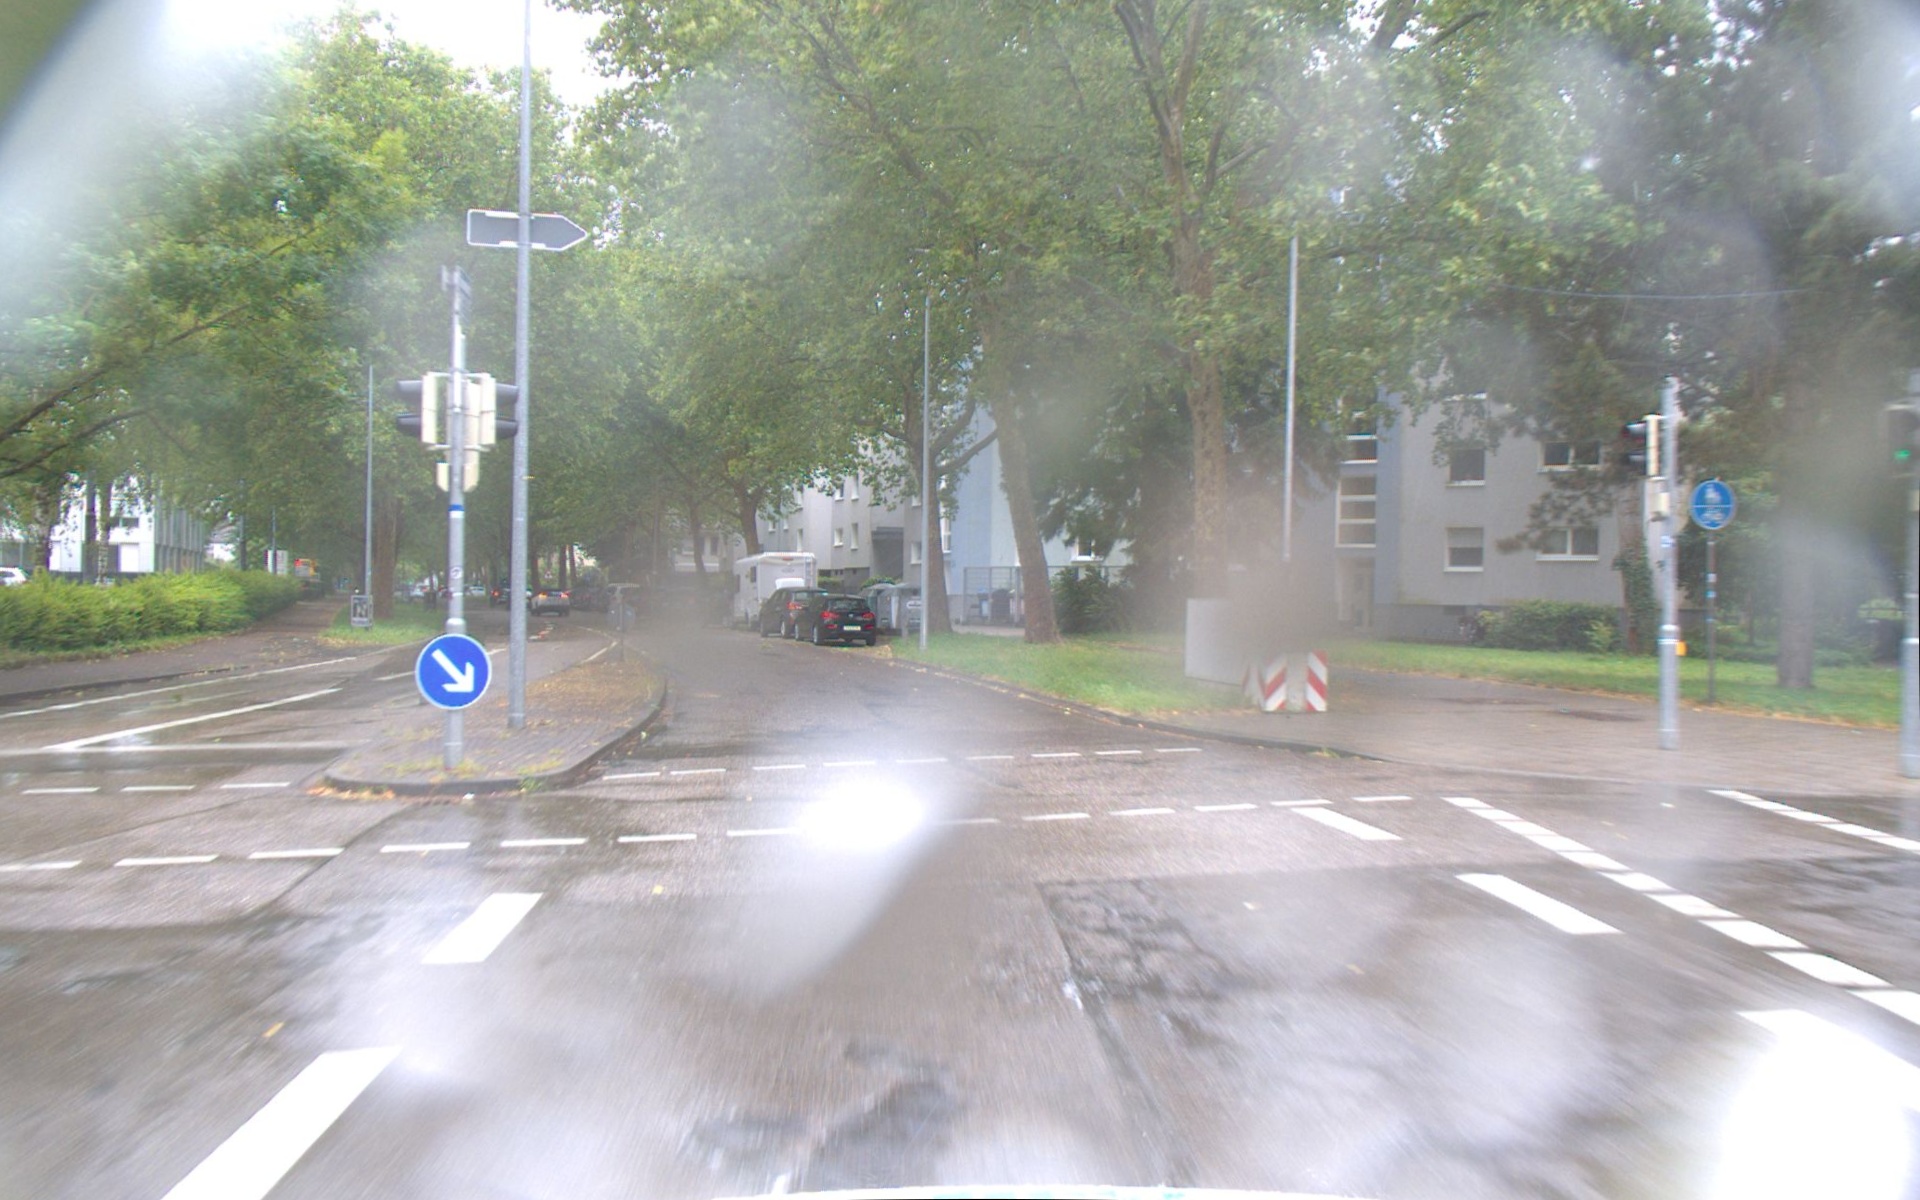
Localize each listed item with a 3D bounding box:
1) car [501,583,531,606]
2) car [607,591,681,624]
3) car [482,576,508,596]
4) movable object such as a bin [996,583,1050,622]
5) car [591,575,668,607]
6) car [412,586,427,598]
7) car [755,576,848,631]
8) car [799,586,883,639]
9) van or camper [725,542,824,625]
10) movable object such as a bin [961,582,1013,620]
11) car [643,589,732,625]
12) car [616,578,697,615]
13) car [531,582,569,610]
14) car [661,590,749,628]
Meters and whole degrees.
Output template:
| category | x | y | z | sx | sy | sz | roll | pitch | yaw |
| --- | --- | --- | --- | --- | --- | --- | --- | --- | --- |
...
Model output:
| category | x | y | z | sx | sy | sz | roll | pitch | yaw |
| --- | --- | --- | --- | --- | --- | --- | --- | --- | --- |
| car | -30.014 | -0.363 | 111.744 | 1.681 | 1.436 | 3.623 | -1 | 2 | -20 |
| car | -18.172 | 0.404 | 95.058 | 3.927 | 1.757 | 1.791 | 2 | 0 | -20 |
| car | -36.165 | -1.092 | 128.704 | 1.681 | 1.436 | 3.623 | -1 | 2 | -20 |
| movable object such as a bin | 2.477 | 0.099 | 65.164 | 1.204 | 1.457 | 1.838 | 1 | 1 | -37 |
| car | -19.655 | -0.546 | 98.362 | 4.274 | 1.792 | 1.808 | 2 | 0 | -20 |
| car | -68.141 | -0.982 | 208.572 | 1.653 | 1.413 | 4.524 | -1 | 1 | -19 |
| car | -5.162 | 0.125 | 53.375 | 1.888 | 1.648 | 4.425 | 2 | -1 | -21 |
| car | -3.500 | 0.342 | 48.164 | 1.524 | 1.414 | 4.130 | 2 | 1 | -17 |
| van or camper | -6.919 | -0.605 | 60.909 | 2.283 | 2.856 | 6.829 | 1 | 0 | -18 |
| movable object such as a bin | 1.075 | 0.029 | 66.457 | 1.204 | 1.457 | 1.838 | 1 | 1 | -37 |
| car | -13.001 | 0.350 | 79.070 | 1.770 | 1.629 | 3.979 | 2 | 1 | 40 |
| car | -15.687 | -0.180 | 85.521 | 1.805 | 1.726 | 3.845 | 2 | 3 | 42 |
| car | -22.695 | -0.218 | 91.458 | 1.681 | 1.436 | 3.623 | -1 | 2 | -20 |
| car | -11.638 | 0.407 | 75.540 | 1.770 | 1.629 | 3.749 | 2 | 1 | 40 |
